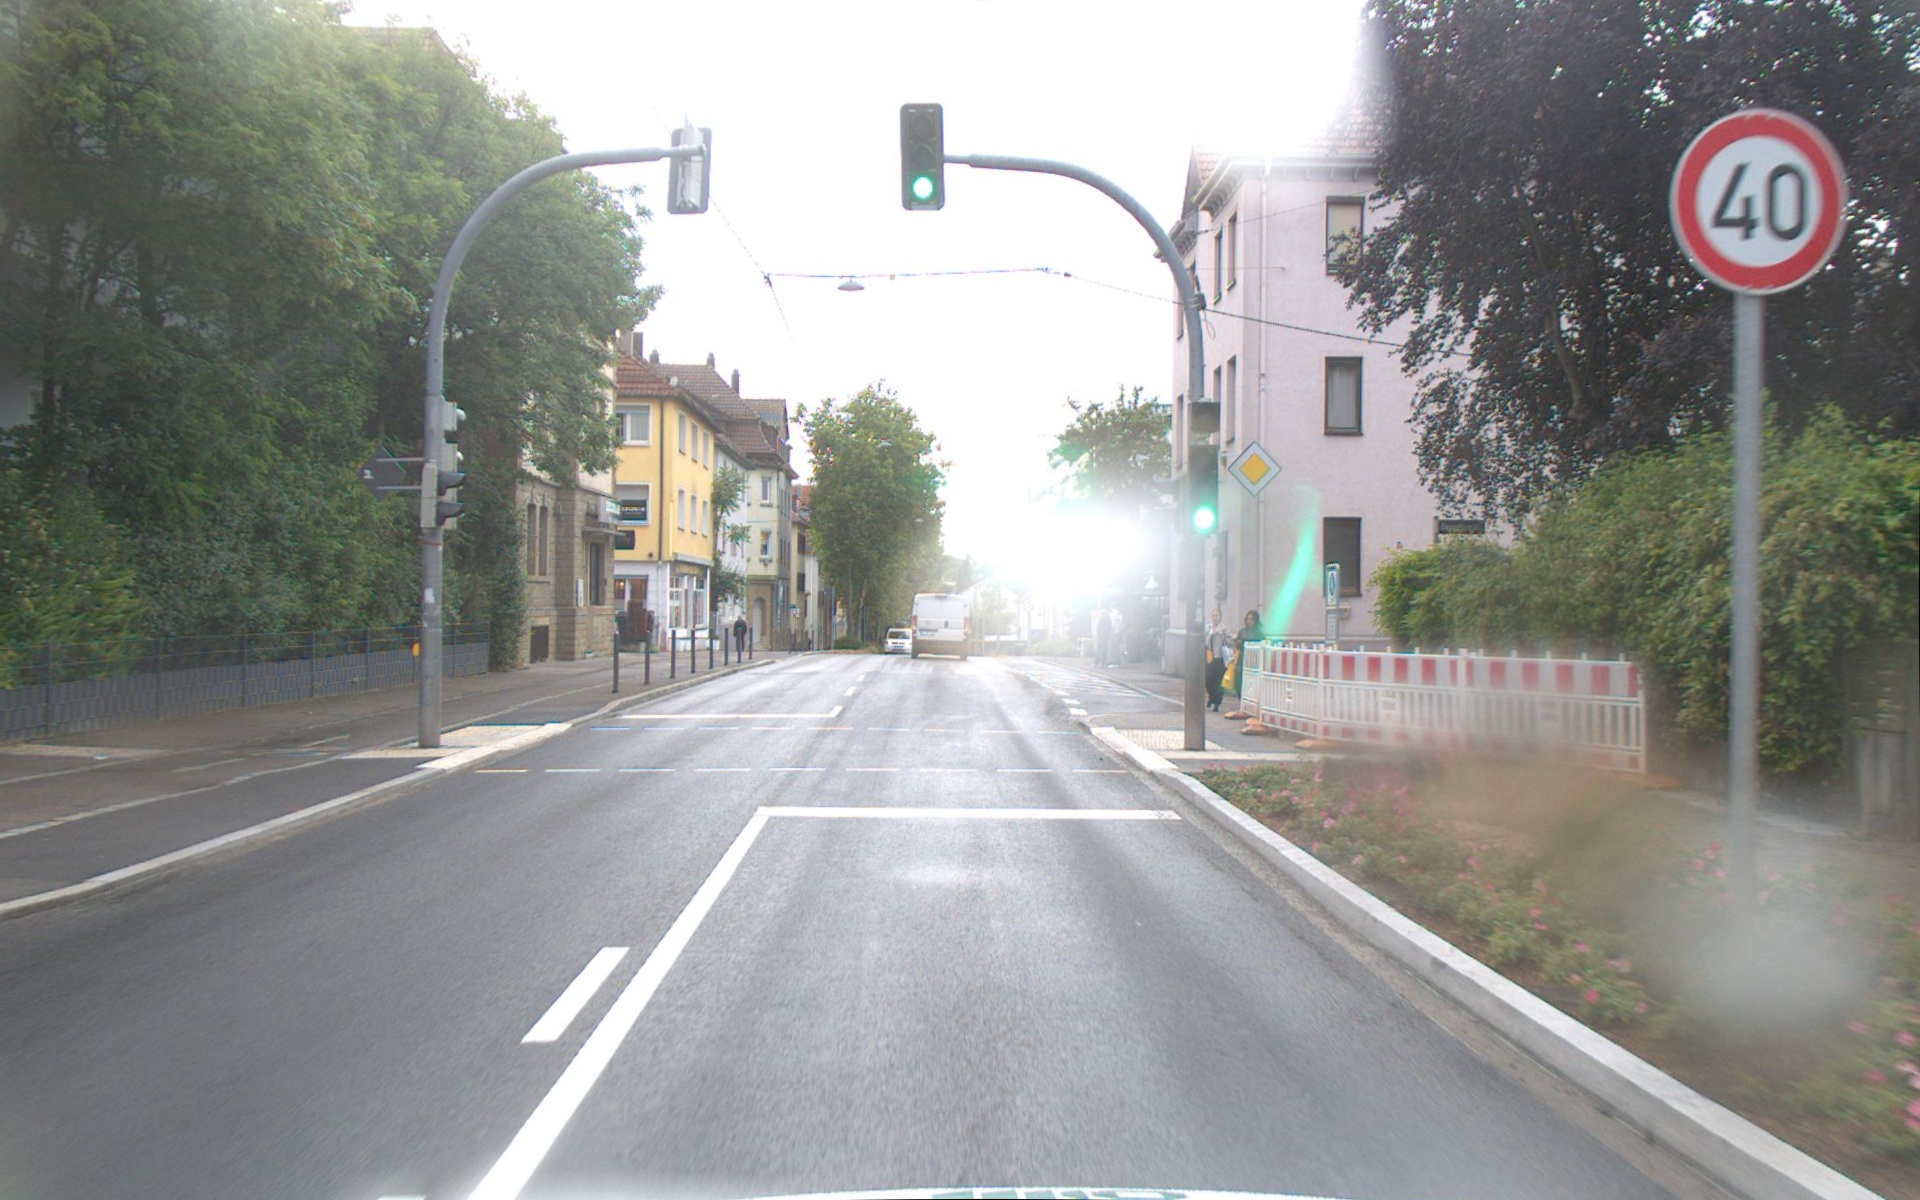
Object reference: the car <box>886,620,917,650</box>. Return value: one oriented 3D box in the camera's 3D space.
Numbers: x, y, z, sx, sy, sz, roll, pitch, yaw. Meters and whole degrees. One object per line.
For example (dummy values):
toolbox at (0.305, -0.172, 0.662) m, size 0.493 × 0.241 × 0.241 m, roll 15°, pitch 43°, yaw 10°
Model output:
car at (-3.681, 2.230, 104.786) m, size 1.843 × 1.903 × 4.452 m, roll 0°, pitch -2°, yaw -1°

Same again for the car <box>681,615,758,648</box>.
car at (-13.954, 1.848, 96.043) m, size 4.098 × 1.615 × 1.999 m, roll 4°, pitch -2°, yaw -1°

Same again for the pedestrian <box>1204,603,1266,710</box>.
pedestrian at (4.274, 0.867, 25.676) m, size 0.856 × 1.588 × 1.050 m, roll 2°, pitch -1°, yaw 12°

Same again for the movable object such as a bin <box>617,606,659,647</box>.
movable object such as a bin at (-11.511, 0.946, 59.099) m, size 1.275 × 1.427 × 0.983 m, roll 1°, pitch -1°, yaw -1°

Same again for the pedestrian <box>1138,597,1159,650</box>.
pedestrian at (6.680, 0.847, 58.591) m, size 0.633 × 1.864 × 0.742 m, roll -1°, pitch -1°, yaw 13°

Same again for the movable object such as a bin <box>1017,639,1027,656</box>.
movable object such as a bin at (4.262, 3.261, 113.720) m, size 0.680 × 1.101 × 0.778 m, roll -2°, pitch -2°, yaw 0°

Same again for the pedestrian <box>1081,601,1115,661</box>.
pedestrian at (4.079, 0.917, 48.742) m, size 0.629 × 1.740 × 0.740 m, roll -1°, pitch -1°, yaw -35°

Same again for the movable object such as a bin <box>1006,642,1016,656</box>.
movable object such as a bin at (3.495, 3.354, 113.542) m, size 0.606 × 0.953 × 0.686 m, roll -2°, pitch -2°, yaw 0°

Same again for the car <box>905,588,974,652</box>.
car at (-0.795, 0.697, 59.701) m, size 2.300 × 2.198 × 4.774 m, roll 0°, pitch 0°, yaw -3°

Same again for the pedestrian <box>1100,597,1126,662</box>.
pedestrian at (4.564, 0.864, 49.245) m, size 0.478 × 1.908 × 0.631 m, roll -2°, pitch -1°, yaw 34°

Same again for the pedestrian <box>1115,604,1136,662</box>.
pedestrian at (5.008, 1.005, 49.989) m, size 0.437 × 1.738 × 0.557 m, roll -2°, pitch -1°, yaw 23°

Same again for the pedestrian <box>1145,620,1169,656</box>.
pedestrian at (6.614, 1.273, 55.604) m, size 0.647 × 1.220 × 0.740 m, roll 0°, pitch -1°, yaw -6°

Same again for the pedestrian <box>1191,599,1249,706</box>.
pedestrian at (4.231, 0.844, 26.942) m, size 0.767 × 1.670 × 1.222 m, roll 2°, pitch -1°, yaw 3°

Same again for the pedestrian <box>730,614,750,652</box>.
pedestrian at (-10.110, 1.508, 76.101) m, size 0.799 × 1.709 × 0.992 m, roll 2°, pitch -2°, yaw -3°

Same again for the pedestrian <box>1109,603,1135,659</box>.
pedestrian at (5.190, 0.986, 52.943) m, size 0.647 × 1.772 × 0.828 m, roll 0°, pitch -1°, yaw -6°

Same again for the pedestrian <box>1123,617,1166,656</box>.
pedestrian at (6.359, 1.260, 57.134) m, size 1.329 × 1.296 × 0.740 m, roll 0°, pitch -1°, yaw -7°
